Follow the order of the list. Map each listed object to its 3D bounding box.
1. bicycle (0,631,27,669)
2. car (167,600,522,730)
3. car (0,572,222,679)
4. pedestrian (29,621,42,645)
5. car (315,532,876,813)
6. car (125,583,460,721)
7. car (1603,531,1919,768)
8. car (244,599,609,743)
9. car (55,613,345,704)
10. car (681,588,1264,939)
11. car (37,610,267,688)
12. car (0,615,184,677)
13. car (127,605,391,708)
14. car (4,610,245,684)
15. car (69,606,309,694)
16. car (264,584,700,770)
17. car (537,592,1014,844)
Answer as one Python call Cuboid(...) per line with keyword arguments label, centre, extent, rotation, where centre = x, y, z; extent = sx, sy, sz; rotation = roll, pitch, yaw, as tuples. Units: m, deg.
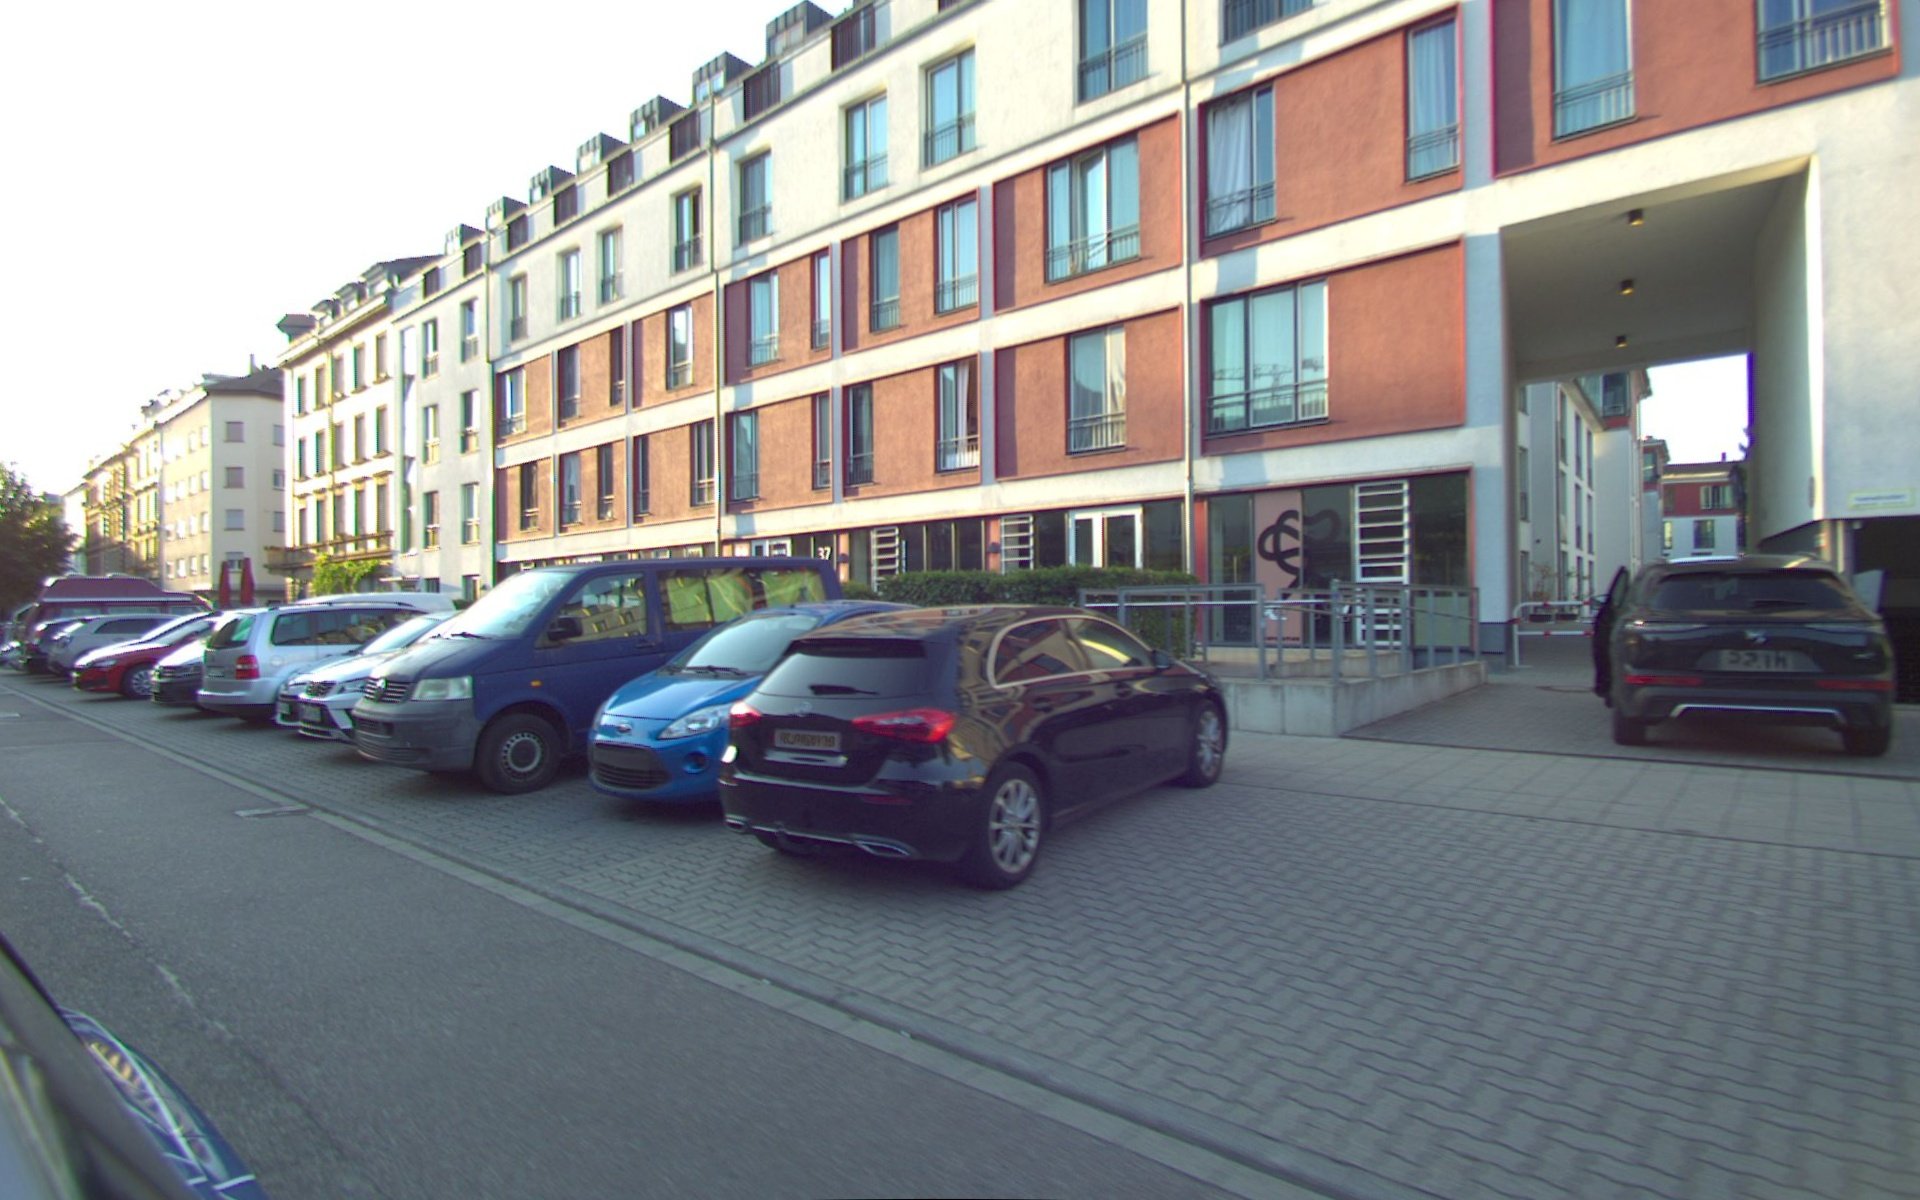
Cuboid(label="bicycle", centre=(-28.605, 1.479, 30.302), extent=(2.414, 1.061, 0.794), rotation=(-1, 0, 43))
Cuboid(label="car", centre=(-8.769, 0.845, 14.753), extent=(2.047, 1.601, 3.956), rotation=(-1, -1, 32))
Cuboid(label="car", centre=(-22.227, 0.620, 26.542), extent=(1.931, 2.576, 4.355), rotation=(-1, -1, 42))
Cuboid(label="pedestrian", centre=(-61.390, 2.171, 67.201), extent=(0.638, 1.545, 0.636), rotation=(-2, -1, 44))
Cuboid(label="car", centre=(-3.288, 0.555, 9.920), extent=(2.000, 2.070, 4.801), rotation=(-2, -1, 43))
Cuboid(label="car", centre=(-10.593, 0.748, 16.323), extent=(1.895, 1.910, 4.138), rotation=(-1, -1, 37))
Cuboid(label="car", centre=(7.114, 0.367, 9.157), extent=(1.995, 1.646, 3.953), rotation=(-2, -1, 35))
Cuboid(label="car", centre=(-6.944, 0.822, 13.513), extent=(1.795, 1.630, 3.949), rotation=(-1, -1, 38))
Cuboid(label="car", centre=(-14.513, 1.036, 19.519), extent=(1.788, 1.505, 4.218), rotation=(-1, -1, 42))
Cuboid(label="car", centre=(0.412, 0.711, 6.610), extent=(1.735, 1.426, 4.102), rotation=(-1, 1, 36))
Cuboid(label="car", centre=(-18.394, 1.043, 23.152), extent=(1.755, 1.551, 3.905), rotation=(-1, 0, 43))
Cuboid(label="car", centre=(-24.202, 1.224, 28.005), extent=(1.800, 1.427, 3.944), rotation=(-1, 1, 35))
Cuboid(label="car", centre=(-12.346, 0.922, 17.973), extent=(1.782, 1.574, 3.496), rotation=(-1, 0, 39))
Cuboid(label="car", centre=(-20.214, 1.069, 24.627), extent=(1.705, 1.536, 4.292), rotation=(-1, 0, 41))
Cuboid(label="car", centre=(-16.372, 1.000, 21.622), extent=(1.700, 1.629, 3.844), rotation=(-1, 0, 43))
Cuboid(label="car", centre=(-5.311, 0.737, 11.653), extent=(1.901, 1.736, 4.141), rotation=(-1, -1, 41))
Cuboid(label="car", centre=(-1.268, 0.740, 8.407), extent=(1.650, 1.504, 3.851), rotation=(-1, 1, 34))
